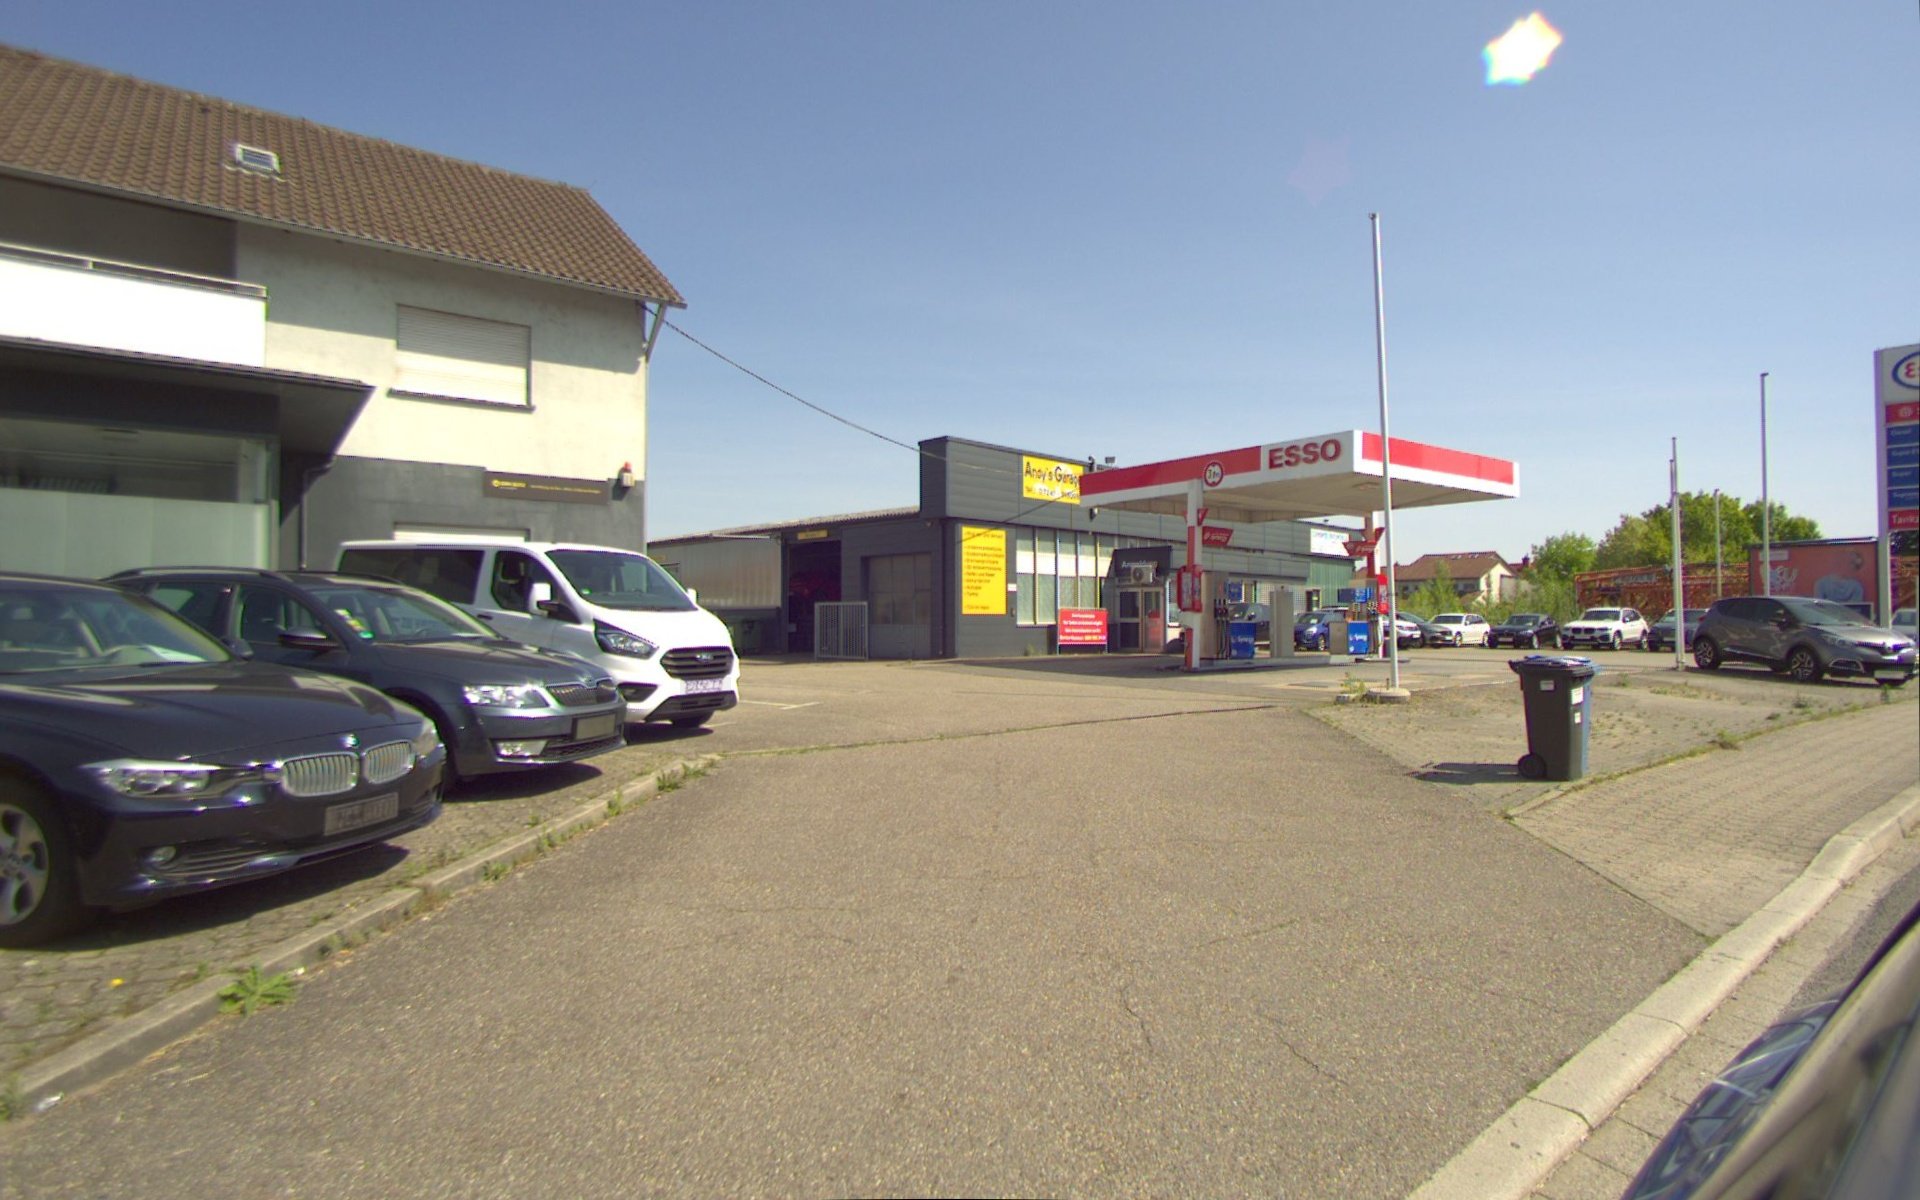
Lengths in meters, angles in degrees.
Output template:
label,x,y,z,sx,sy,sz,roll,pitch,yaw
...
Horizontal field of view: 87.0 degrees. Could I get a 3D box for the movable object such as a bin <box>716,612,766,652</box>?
label,x,y,z,sx,sy,sz,roll,pitch,yaw
movable object such as a bin,-7.451,1.078,34.448,1.257,1.312,1.171,1,0,-44

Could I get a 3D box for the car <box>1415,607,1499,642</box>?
label,x,y,z,sx,sy,sz,roll,pitch,yaw
car,21.371,1.031,43.475,4.302,1.404,1.843,0,0,-43

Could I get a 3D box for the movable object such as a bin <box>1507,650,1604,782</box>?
label,x,y,z,sx,sy,sz,roll,pitch,yaw
movable object such as a bin,4.692,0.891,7.972,0.557,0.948,0.506,1,0,43

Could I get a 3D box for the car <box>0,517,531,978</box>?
label,x,y,z,sx,sy,sz,roll,pitch,yaw
car,-4.553,0.492,4.940,4.175,1.586,1.976,1,-1,13

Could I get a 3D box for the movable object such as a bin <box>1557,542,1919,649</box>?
label,x,y,z,sx,sy,sz,roll,pitch,yaw
movable object such as a bin,34.649,-0.207,43.100,2.722,4.069,16.097,1,0,-37

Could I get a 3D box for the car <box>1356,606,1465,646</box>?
label,x,y,z,sx,sy,sz,roll,pitch,yaw
car,18.323,1.013,41.251,1.780,1.492,3.685,1,0,-40

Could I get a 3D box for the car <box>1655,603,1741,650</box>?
label,x,y,z,sx,sy,sz,roll,pitch,yaw
car,27.261,0.928,37.349,4.036,1.612,1.843,0,0,-43

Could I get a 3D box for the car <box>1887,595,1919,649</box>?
label,x,y,z,sx,sy,sz,roll,pitch,yaw
car,32.103,0.782,33.337,4.291,1.707,1.807,3,0,-41

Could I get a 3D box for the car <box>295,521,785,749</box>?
label,x,y,z,sx,sy,sz,roll,pitch,yaw
car,-4.738,0.270,11.277,5.236,2.039,2.210,1,0,28

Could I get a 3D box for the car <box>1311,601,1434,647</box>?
label,x,y,z,sx,sy,sz,roll,pitch,yaw
car,16.101,0.906,39.673,1.780,1.655,4.148,1,0,-40

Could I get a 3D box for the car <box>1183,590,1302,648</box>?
label,x,y,z,sx,sy,sz,roll,pitch,yaw
car,9.351,0.658,33.296,1.803,1.764,4.742,-1,-2,43

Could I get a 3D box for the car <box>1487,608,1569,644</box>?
label,x,y,z,sx,sy,sz,roll,pitch,yaw
car,23.207,1.024,41.298,3.932,1.404,1.843,0,0,-43

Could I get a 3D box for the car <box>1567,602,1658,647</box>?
label,x,y,z,sx,sy,sz,roll,pitch,yaw
car,25.448,0.918,39.432,4.265,1.612,2.001,0,0,-43

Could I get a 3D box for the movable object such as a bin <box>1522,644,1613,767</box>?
label,x,y,z,sx,sy,sz,roll,pitch,yaw
movable object such as a bin,5.103,0.863,8.503,0.557,0.951,0.506,1,0,43

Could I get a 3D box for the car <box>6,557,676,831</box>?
label,x,y,z,sx,sy,sz,roll,pitch,yaw
car,-4.507,0.519,7.508,4.261,1.570,1.972,1,0,19

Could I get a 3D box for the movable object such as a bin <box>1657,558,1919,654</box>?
label,x,y,z,sx,sy,sz,roll,pitch,yaw
movable object such as a bin,41.549,0.256,48.469,2.810,4.218,13.291,1,0,-37

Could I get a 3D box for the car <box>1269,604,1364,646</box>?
label,x,y,z,sx,sy,sz,roll,pitch,yaw
car,13.221,0.892,37.457,1.793,1.450,4.061,1,0,44

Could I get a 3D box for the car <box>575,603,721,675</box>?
label,x,y,z,sx,sy,sz,roll,pitch,yaw
car,-7.245,0.819,23.299,1.779,1.498,4.069,1,-1,-40

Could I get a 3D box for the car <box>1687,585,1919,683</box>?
label,x,y,z,sx,sy,sz,roll,pitch,yaw
car,16.452,0.574,19.599,1.742,1.574,4.181,2,2,2
